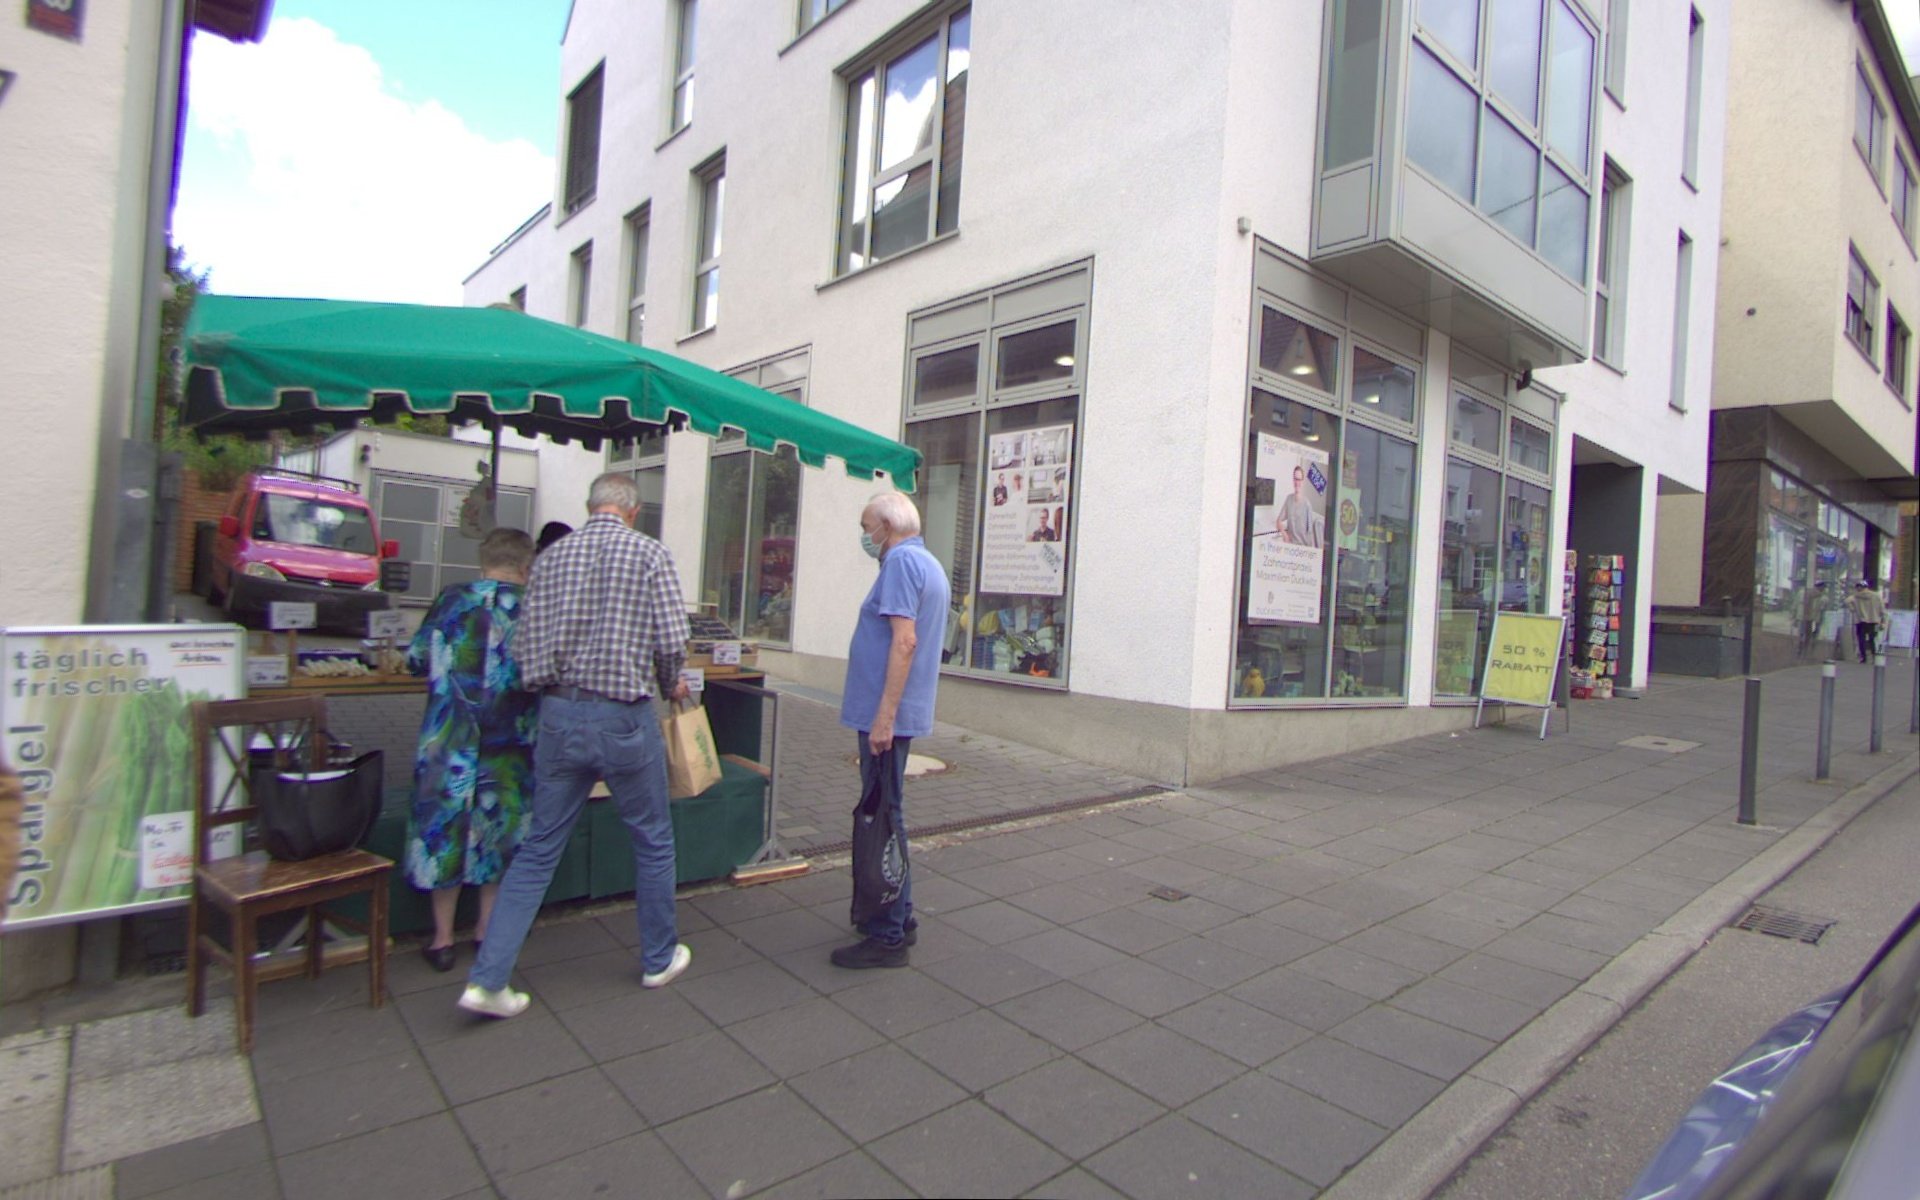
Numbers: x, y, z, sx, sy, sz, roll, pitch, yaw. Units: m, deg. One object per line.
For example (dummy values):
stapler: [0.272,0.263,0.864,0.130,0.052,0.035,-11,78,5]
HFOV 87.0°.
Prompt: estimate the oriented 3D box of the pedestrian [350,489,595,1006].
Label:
pedestrian: [-1.762,0.456,3.640,0.689,1.632,0.626,0,2,-35]

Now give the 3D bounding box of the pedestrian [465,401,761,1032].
pedestrian: [-1.126,0.340,3.434,0.690,1.880,0.780,1,1,3]

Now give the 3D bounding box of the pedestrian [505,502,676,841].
pedestrian: [-1.951,0.334,5.324,0.689,1.632,0.626,0,2,-35]

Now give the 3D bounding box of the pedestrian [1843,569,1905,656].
pedestrian: [18.704,0.250,20.709,0.767,1.693,0.759,0,4,-42]

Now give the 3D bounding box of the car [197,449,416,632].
car: [-8.177,-0.677,12.486,1.839,1.863,4.159,0,2,-39]

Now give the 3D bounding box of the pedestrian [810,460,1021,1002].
pedestrian: [-0.195,0.426,3.745,0.612,1.788,0.704,1,1,-14]

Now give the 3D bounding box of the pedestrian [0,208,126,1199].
pedestrian: [-1.686,0.393,1.330,0.672,1.823,0.778,2,2,37]
